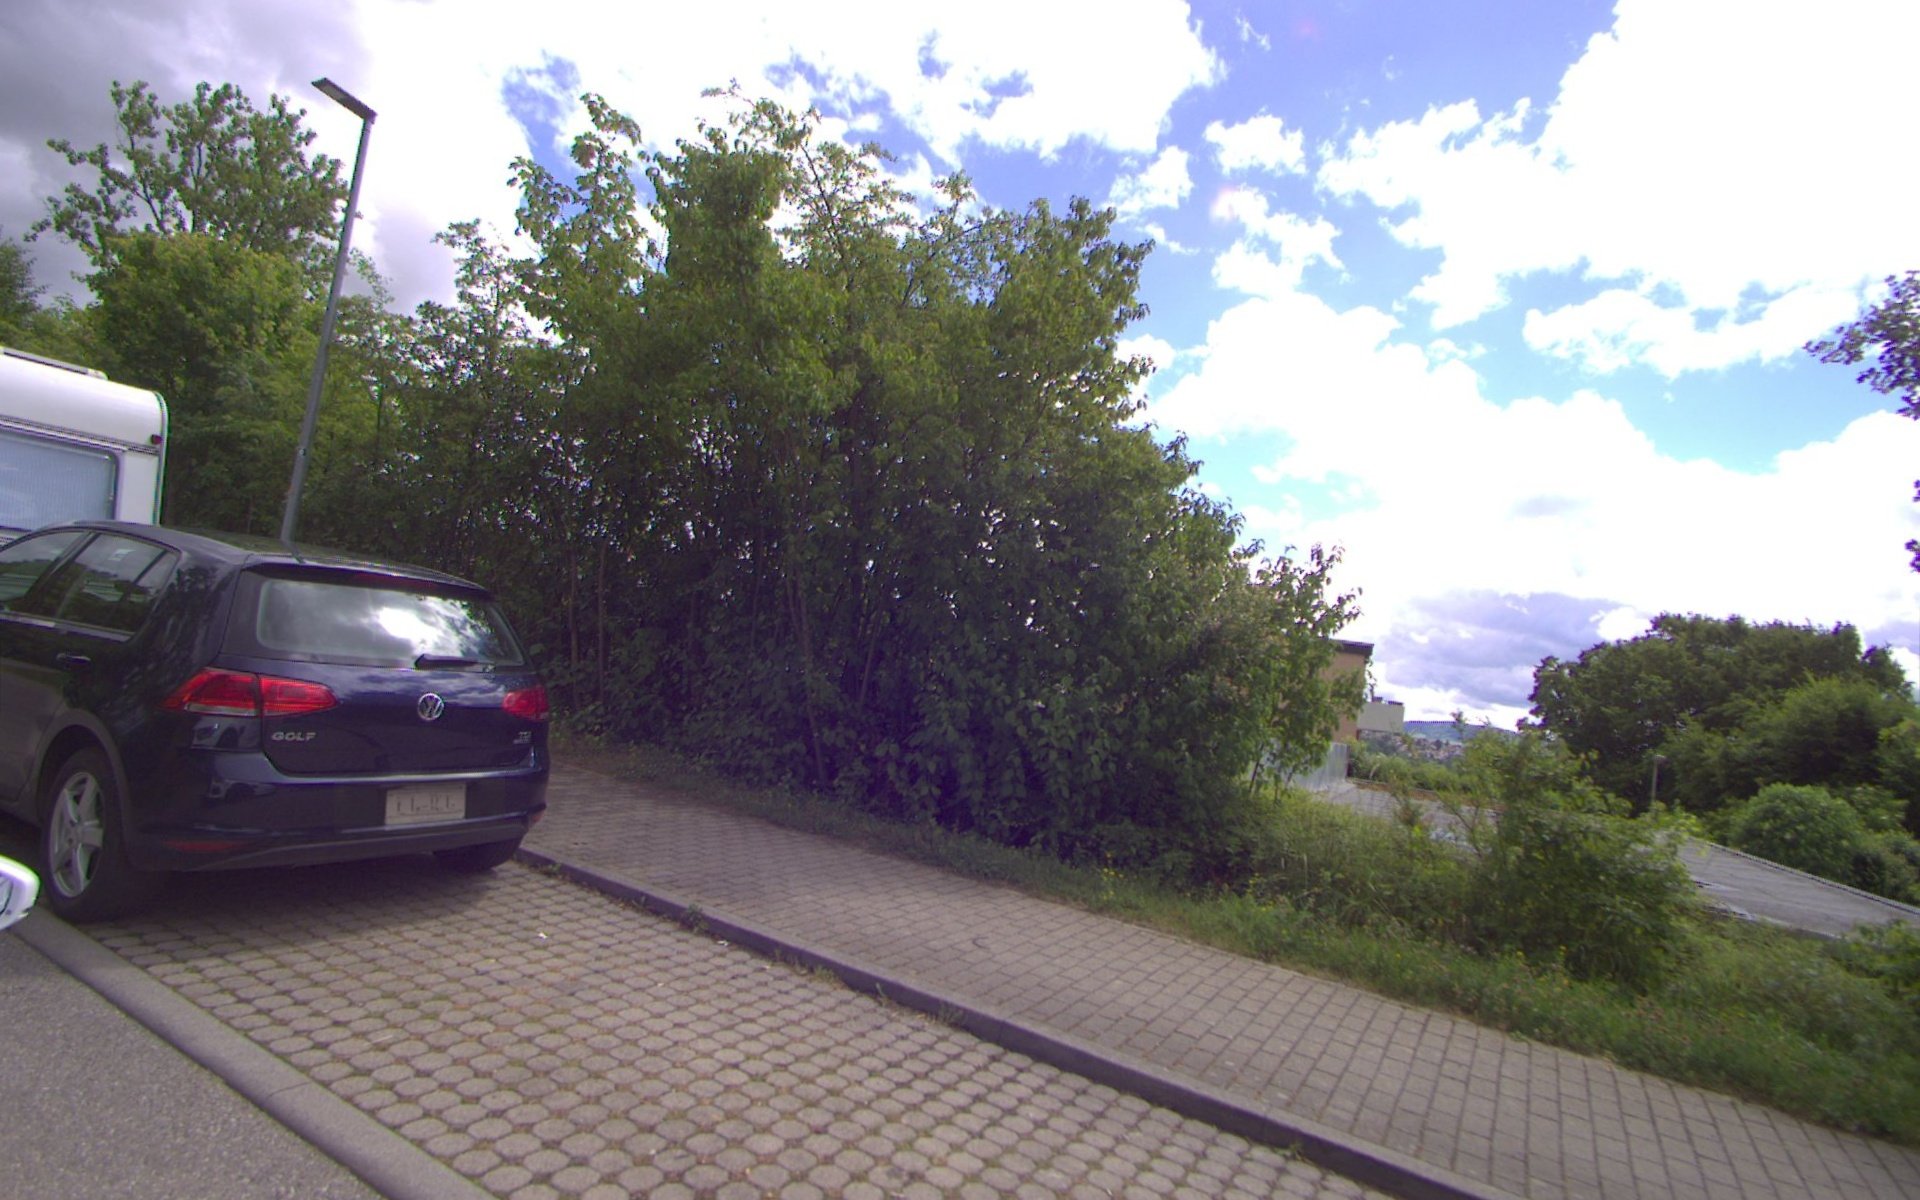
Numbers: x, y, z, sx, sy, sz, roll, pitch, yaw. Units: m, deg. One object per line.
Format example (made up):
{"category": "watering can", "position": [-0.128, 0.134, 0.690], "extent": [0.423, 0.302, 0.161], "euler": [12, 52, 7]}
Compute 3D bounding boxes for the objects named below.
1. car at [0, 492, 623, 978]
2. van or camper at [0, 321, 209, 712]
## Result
{"category": "car", "position": [-3.987, 0.346, 5.018], "extent": [4.403, 1.466, 1.687], "euler": [7, -3, 29]}
{"category": "van or camper", "position": [-8.631, -0.806, 7.839], "extent": [4.987, 2.583, 2.361], "euler": [7, -2, 29]}
